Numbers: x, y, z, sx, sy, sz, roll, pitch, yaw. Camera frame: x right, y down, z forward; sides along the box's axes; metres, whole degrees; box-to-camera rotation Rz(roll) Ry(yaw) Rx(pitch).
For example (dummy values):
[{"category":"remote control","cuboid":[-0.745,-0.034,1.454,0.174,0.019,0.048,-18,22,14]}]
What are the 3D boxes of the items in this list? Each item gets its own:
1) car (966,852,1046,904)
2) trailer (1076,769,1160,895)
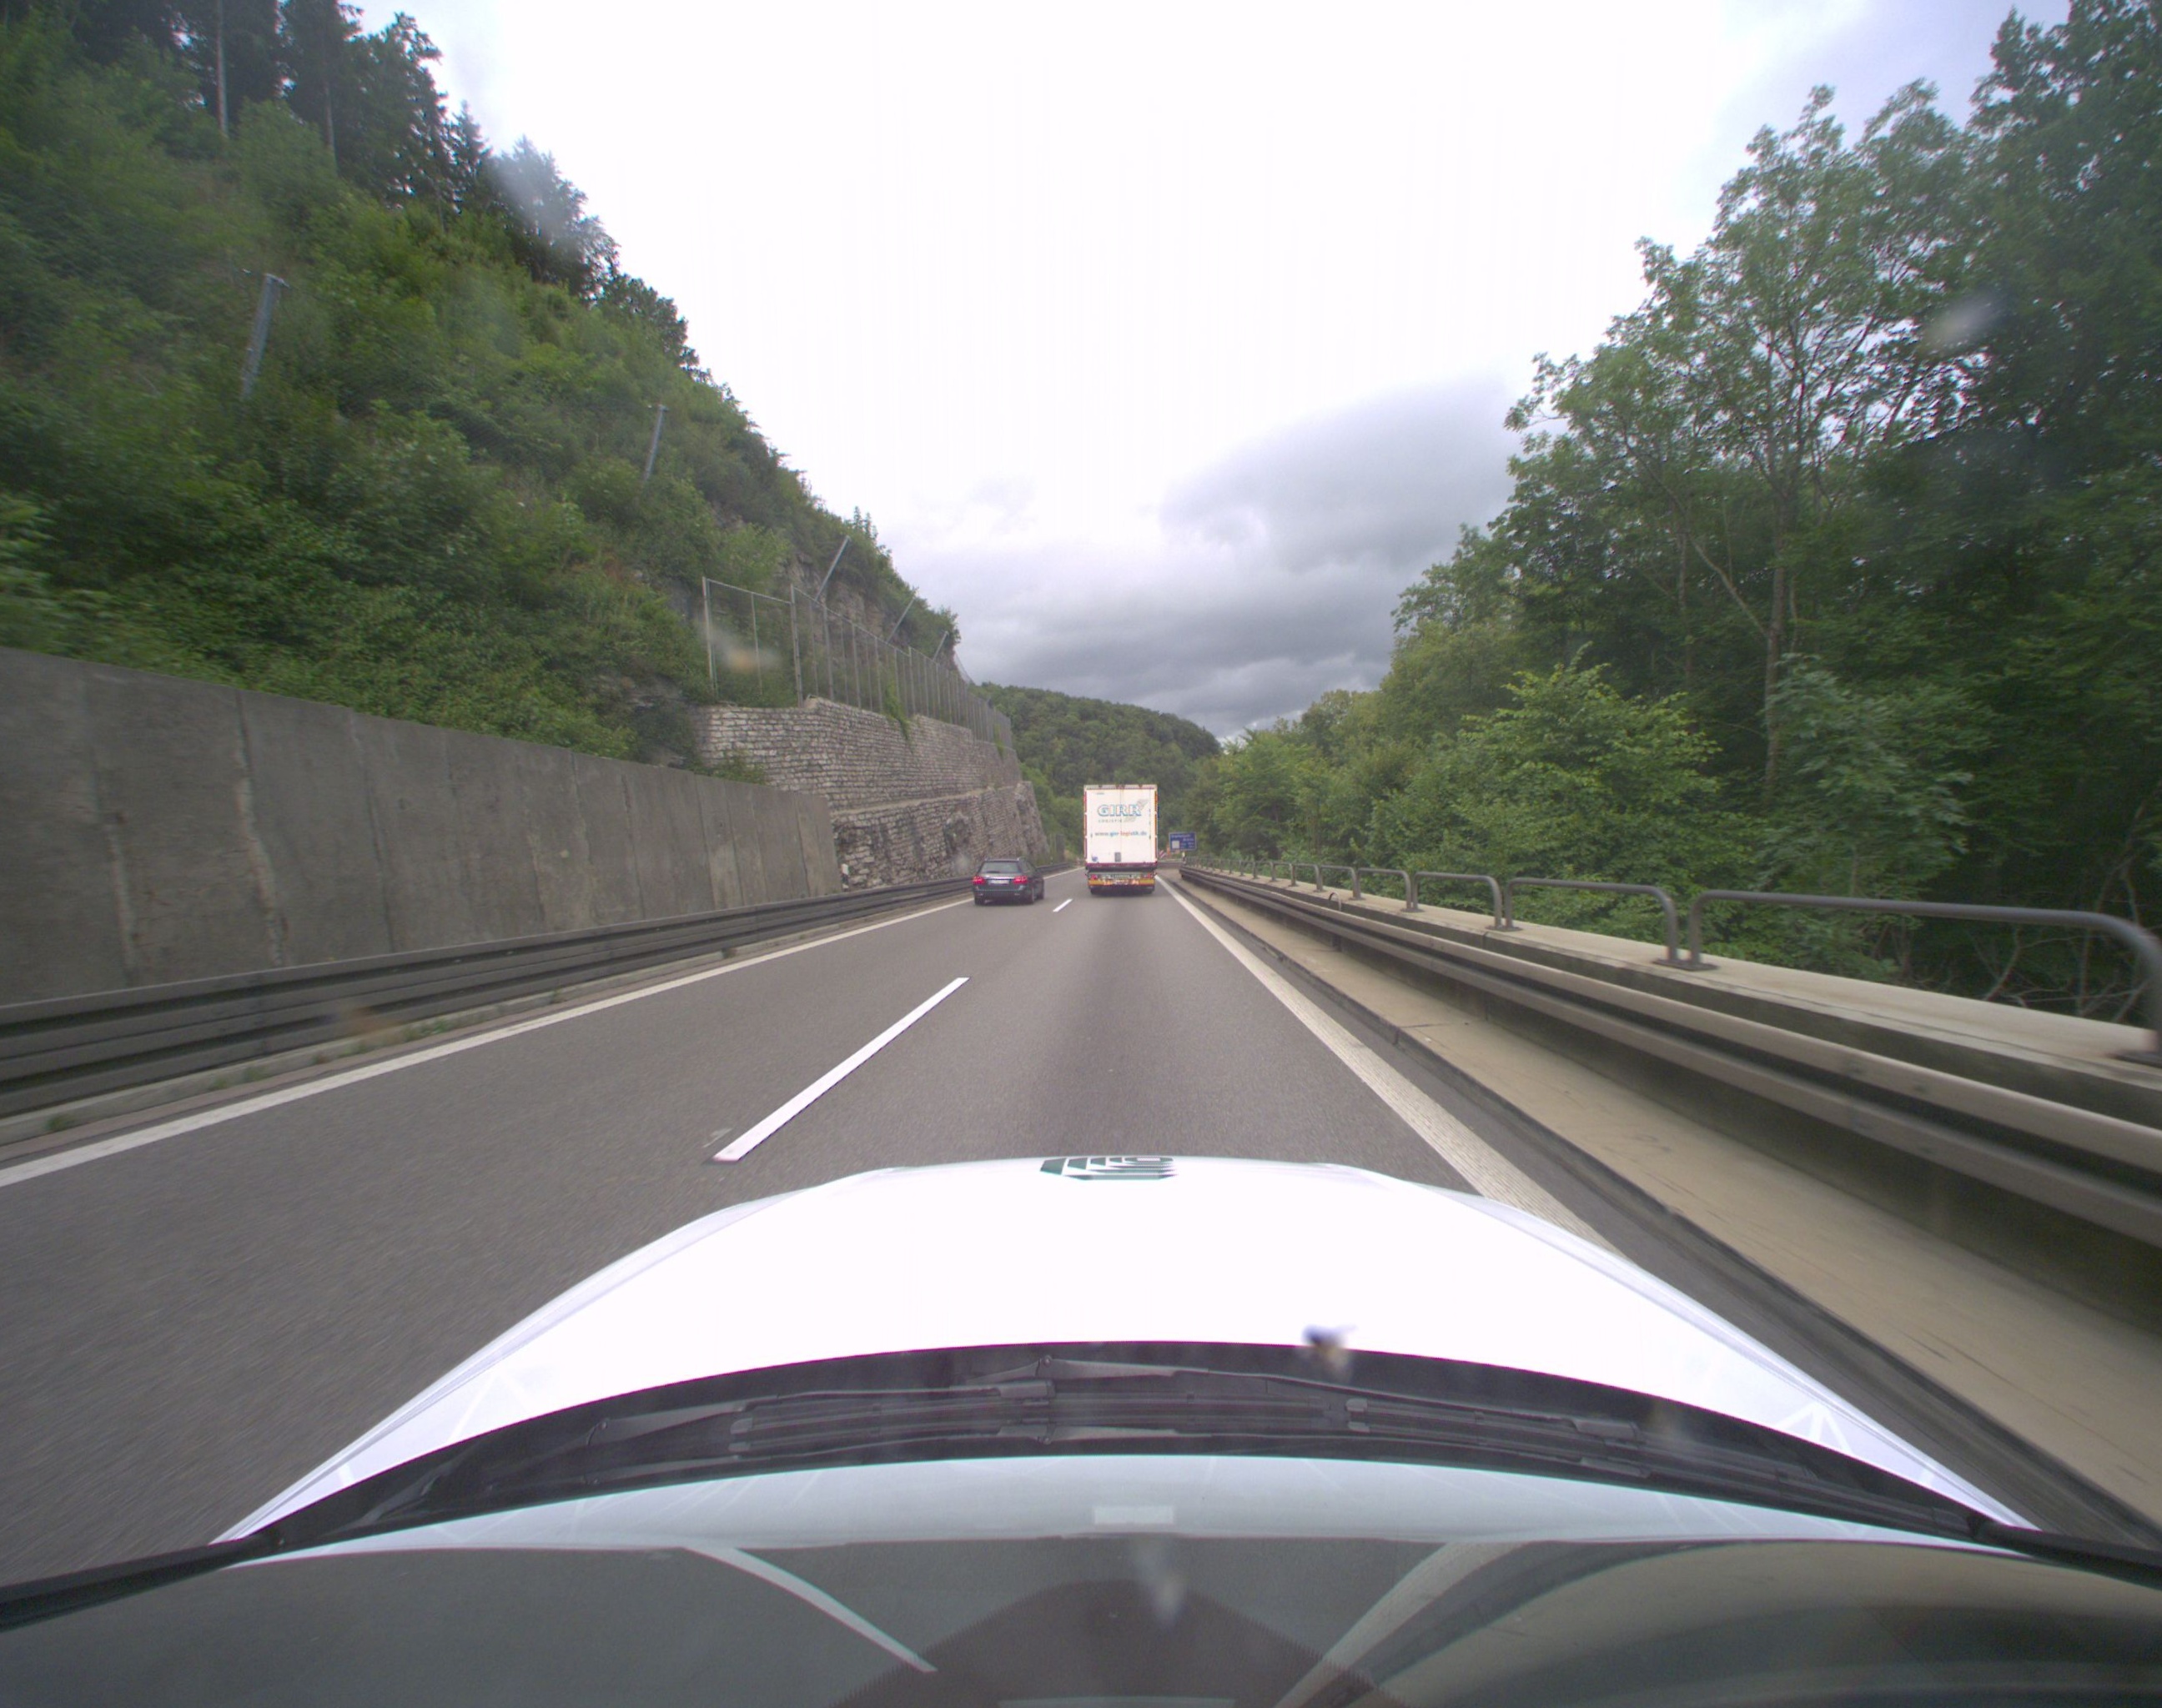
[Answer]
[{"category":"car","cuboid":[-2.341,0.746,26.561,1.875,1.510,4.423,-1,-1,3]},{"category":"trailer","cuboid":[1.713,-0.710,34.300,2.801,4.302,12.257,-1,-1,4]}]
